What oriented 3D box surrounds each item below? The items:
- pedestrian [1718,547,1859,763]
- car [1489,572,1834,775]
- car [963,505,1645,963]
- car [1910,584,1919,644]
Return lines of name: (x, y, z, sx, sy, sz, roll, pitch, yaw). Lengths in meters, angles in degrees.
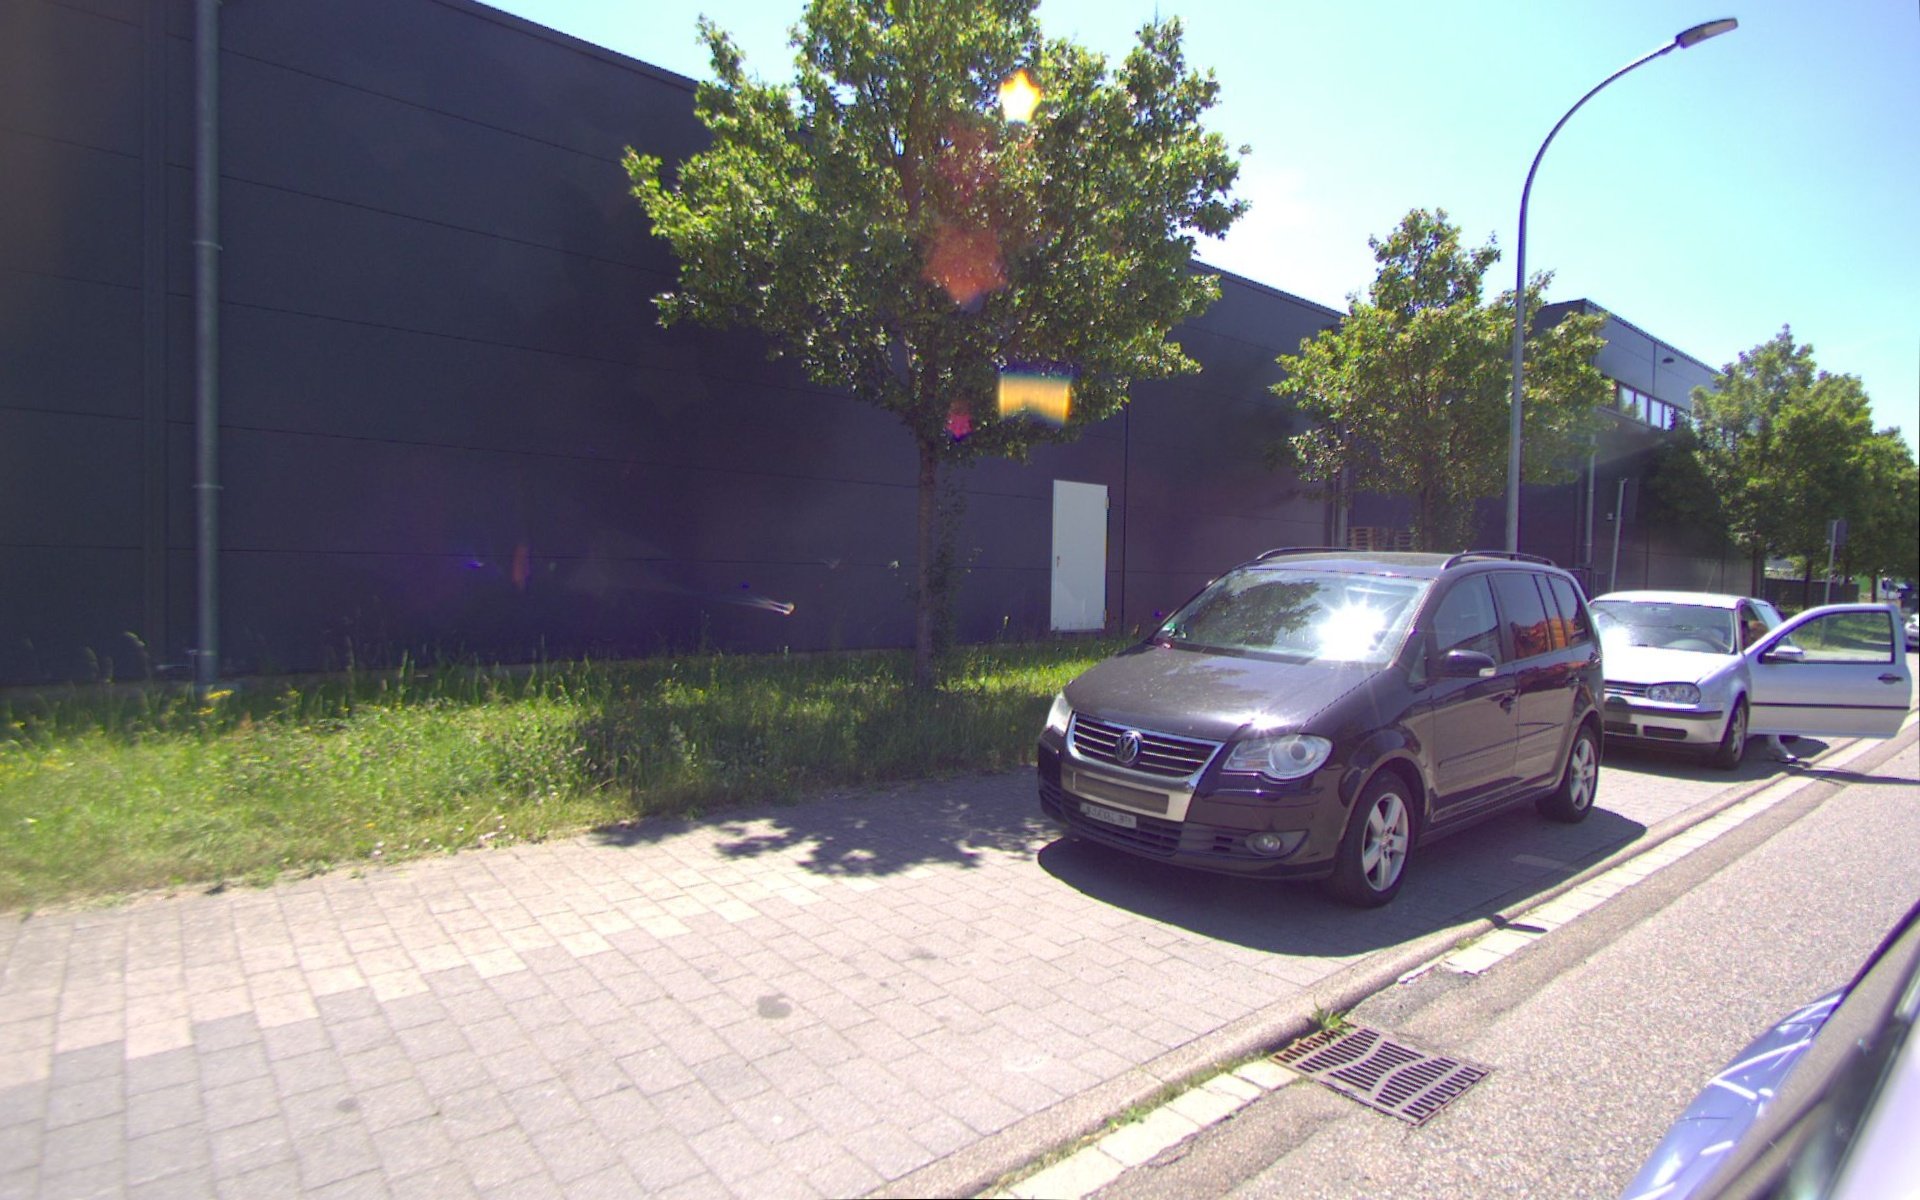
pedestrian: (7.355, 0.456, 9.021, 0.710, 1.832, 0.702, 1, 1, 14)
car: (6.820, 0.529, 9.667, 4.116, 1.475, 1.711, 0, 3, -41)
car: (2.214, 0.437, 5.798, 4.292, 1.690, 1.741, 0, 3, -41)
car: (26.092, 0.392, 26.228, 3.602, 1.528, 1.735, 0, 3, -41)
